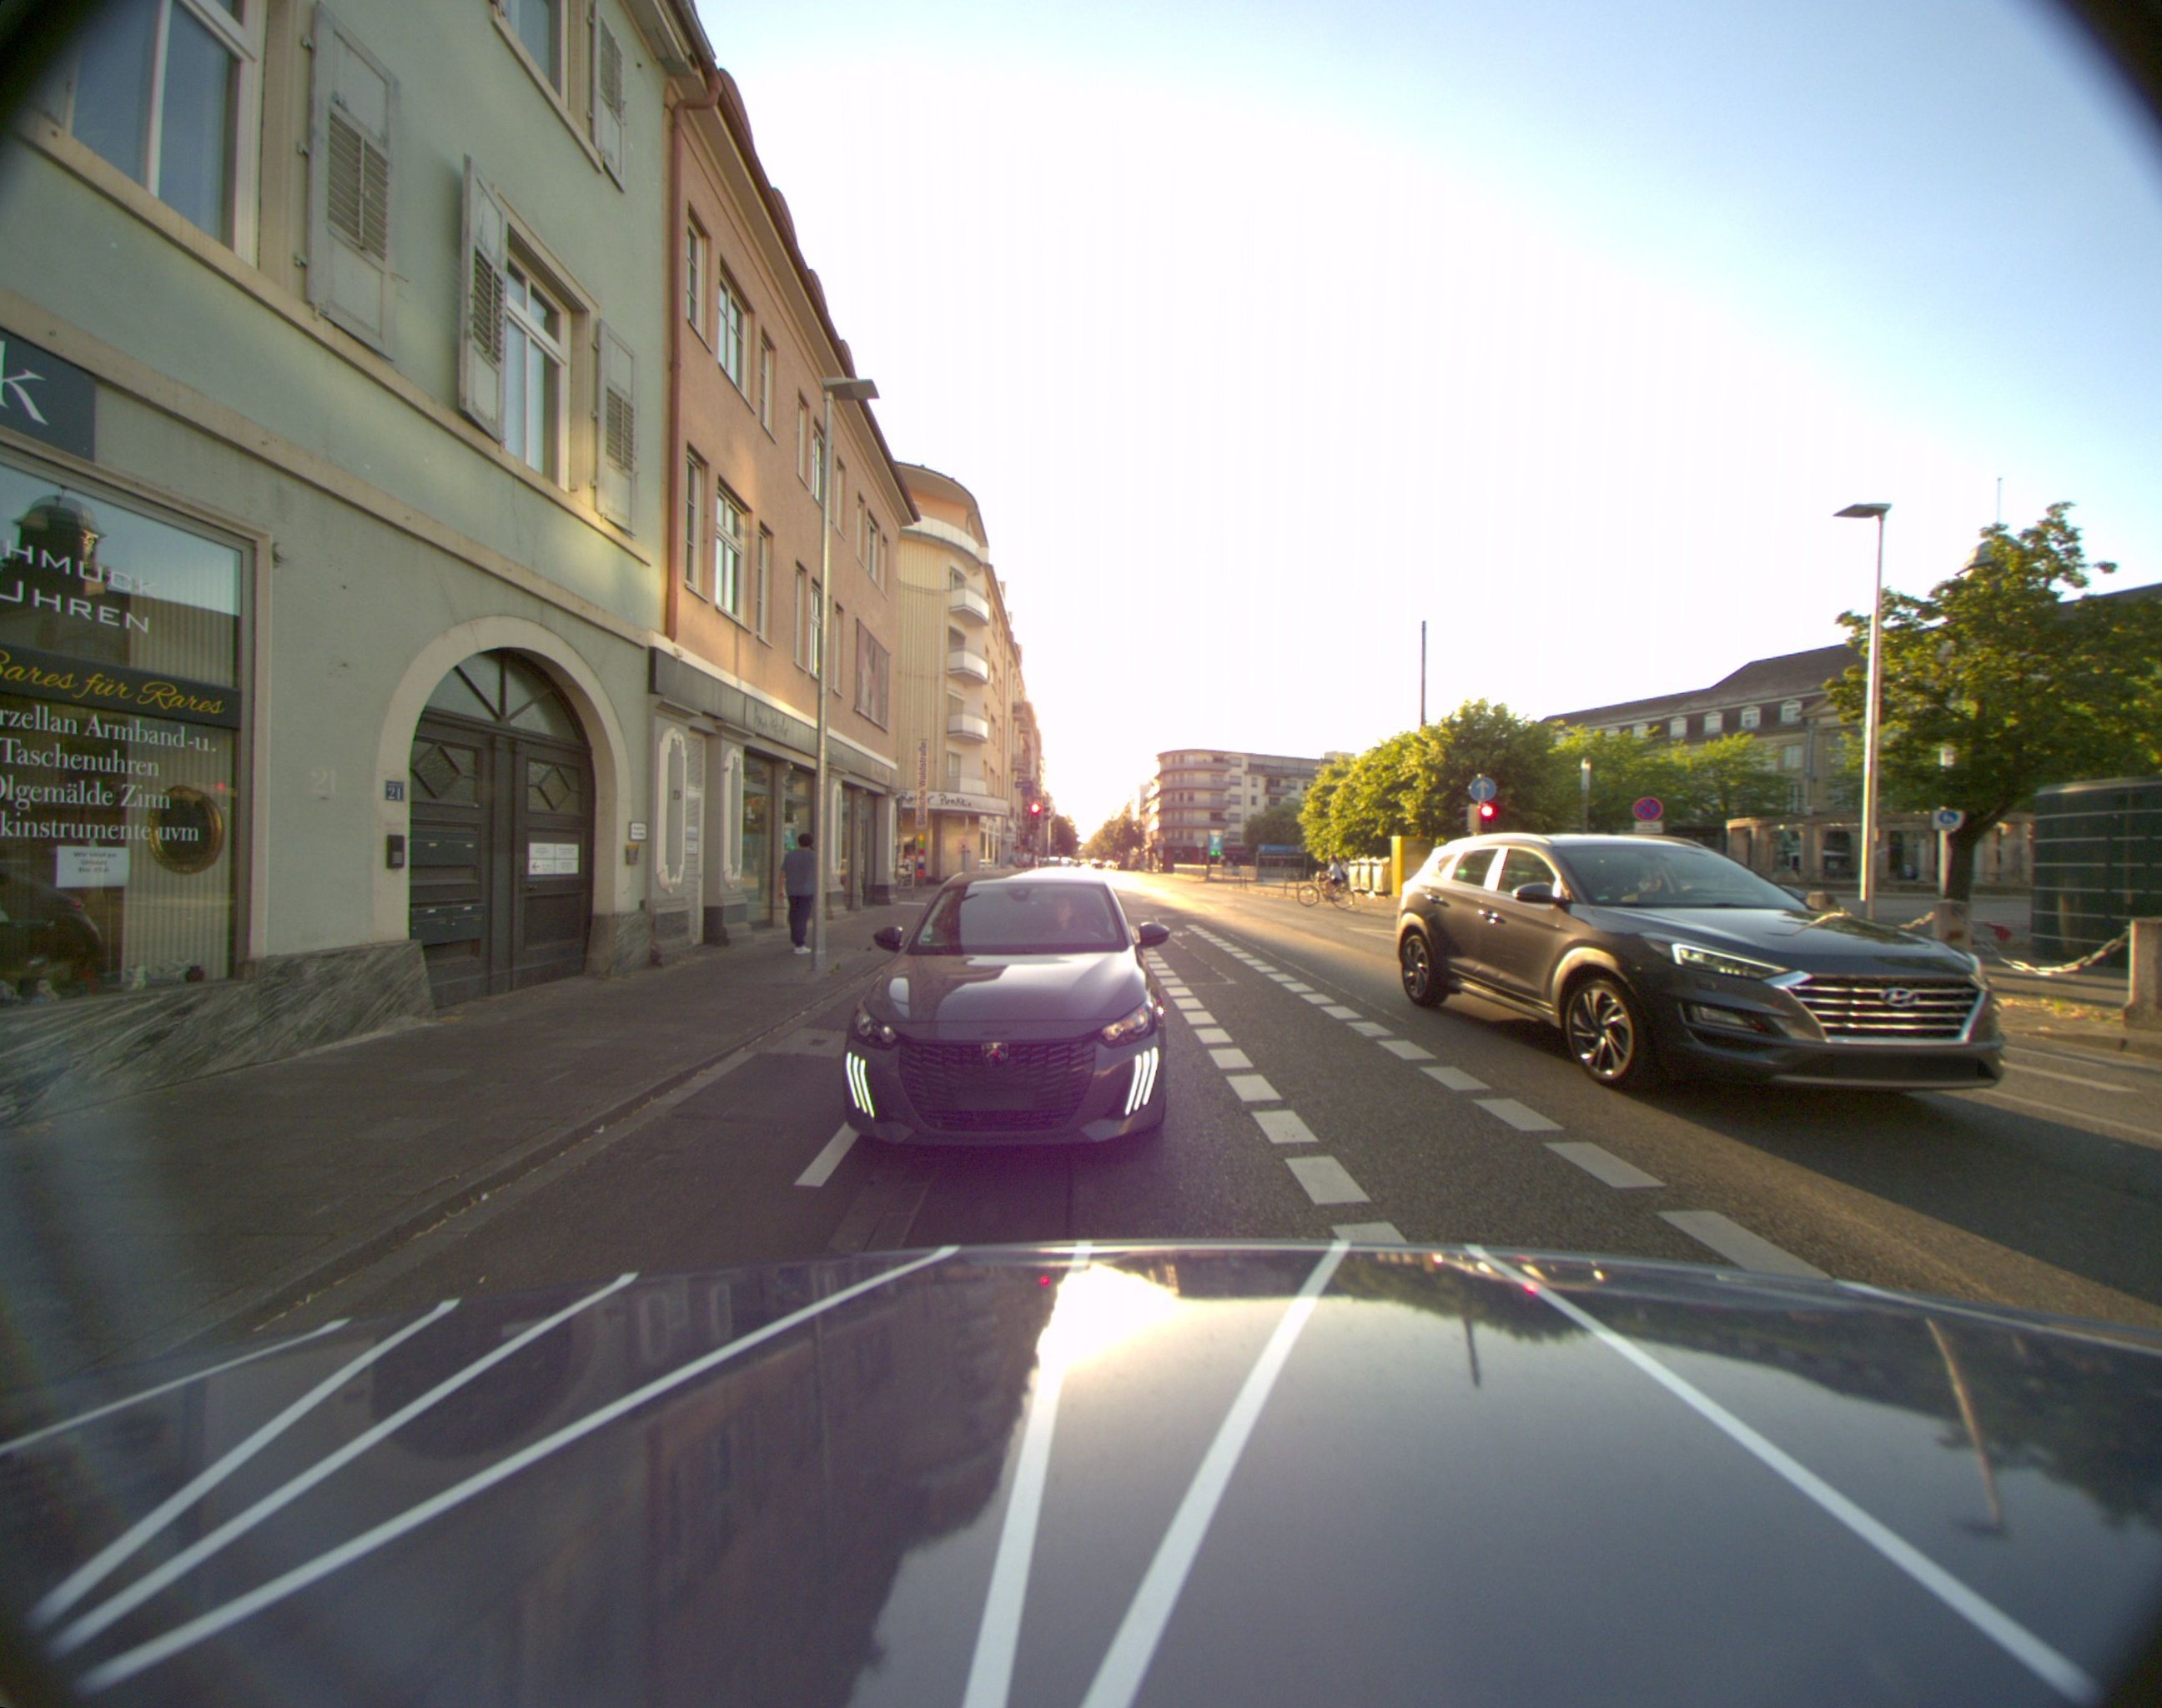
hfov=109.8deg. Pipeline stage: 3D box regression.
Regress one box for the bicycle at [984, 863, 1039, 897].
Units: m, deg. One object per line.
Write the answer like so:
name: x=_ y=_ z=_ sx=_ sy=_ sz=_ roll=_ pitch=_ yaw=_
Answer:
bicycle: x=-2.494 y=0.930 z=27.494 sx=1.823 sy=1.179 sz=0.794 roll=1 pitch=0 yaw=9

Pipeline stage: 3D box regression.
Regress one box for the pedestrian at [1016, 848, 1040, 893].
pedestrian: x=-2.155 y=0.665 z=30.973 sx=0.826 sy=1.806 sz=0.870 roll=1 pitch=0 yaw=-14

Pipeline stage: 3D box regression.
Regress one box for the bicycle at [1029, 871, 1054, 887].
bicycle: x=-1.745 y=1.084 z=33.490 sx=1.008 sy=0.677 sz=1.049 roll=1 pitch=0 yaw=-9

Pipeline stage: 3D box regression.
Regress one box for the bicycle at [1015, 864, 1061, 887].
bicycle: x=-2.119 y=1.050 z=37.431 sx=2.176 sy=1.069 sz=0.805 roll=2 pitch=0 yaw=-7

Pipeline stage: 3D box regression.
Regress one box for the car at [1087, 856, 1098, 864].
car: x=2.384 y=1.306 z=160.496 sx=1.878 sy=1.621 sz=4.177 roll=3 pitch=-1 yaw=-5

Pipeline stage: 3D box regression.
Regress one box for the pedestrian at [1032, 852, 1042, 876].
pedestrian: x=-3.773 y=0.861 z=65.200 sx=0.763 sy=2.002 sz=0.851 roll=0 pitch=0 yaw=0

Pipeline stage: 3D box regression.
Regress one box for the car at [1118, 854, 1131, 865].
car: x=7.732 y=0.945 z=135.739 sx=1.999 sy=1.805 sz=3.999 roll=1 pitch=0 yaw=-2

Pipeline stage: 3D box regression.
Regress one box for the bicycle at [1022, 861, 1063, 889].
bicycle: x=-1.802 y=0.963 z=35.100 sx=1.849 sy=1.232 sz=0.639 roll=1 pitch=0 yaw=-5

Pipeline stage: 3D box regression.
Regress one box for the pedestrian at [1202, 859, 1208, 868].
pedestrian: x=18.125 y=1.402 z=111.020 sx=0.732 sy=1.314 sz=0.888 roll=0 pitch=0 yaw=-2

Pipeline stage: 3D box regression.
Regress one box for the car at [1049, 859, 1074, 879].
car: x=-1.404 y=1.076 z=56.665 sx=1.738 sy=1.448 sz=4.610 roll=0 pitch=0 yaw=0

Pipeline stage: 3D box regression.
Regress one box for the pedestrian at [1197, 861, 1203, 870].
pedestrian: x=17.435 y=1.648 z=111.228 sx=0.732 sy=1.314 sz=0.889 roll=0 pitch=0 yaw=-1

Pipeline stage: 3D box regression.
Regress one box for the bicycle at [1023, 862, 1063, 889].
bicycle: x=-1.803 y=1.012 z=35.847 sx=1.788 sy=1.166 sz=0.622 roll=2 pitch=0 yaw=-11

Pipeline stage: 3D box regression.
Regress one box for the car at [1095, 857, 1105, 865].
car: x=3.629 y=1.291 z=145.680 sx=1.790 sy=1.458 sz=3.956 roll=1 pitch=0 yaw=-1

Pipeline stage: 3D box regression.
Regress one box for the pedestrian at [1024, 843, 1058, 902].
pedestrian: x=-1.322 y=0.605 z=25.265 sx=0.939 sy=1.886 sz=0.826 roll=1 pitch=0 yaw=7

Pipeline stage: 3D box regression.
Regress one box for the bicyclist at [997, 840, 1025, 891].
bicyclist: x=-2.539 y=0.405 z=27.511 sx=0.835 sy=1.815 sz=0.831 roll=1 pitch=0 yaw=8

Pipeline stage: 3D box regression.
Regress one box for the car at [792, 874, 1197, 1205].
car: x=-0.384 y=0.933 z=5.807 sx=1.908 sy=1.438 sz=4.449 roll=0 pitch=0 yaw=1

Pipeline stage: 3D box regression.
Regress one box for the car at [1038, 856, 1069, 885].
car: x=-1.629 y=0.928 z=44.765 sx=1.702 sy=1.607 sz=4.682 roll=0 pitch=0 yaw=-2

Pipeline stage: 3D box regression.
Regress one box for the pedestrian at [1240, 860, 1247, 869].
pedestrian: x=24.146 y=1.494 z=112.811 sx=0.731 sy=1.314 sz=0.891 roll=0 pitch=0 yaw=39

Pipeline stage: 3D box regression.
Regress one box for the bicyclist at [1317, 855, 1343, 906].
bicyclist: x=8.458 y=0.885 z=25.817 sx=0.777 sy=1.714 sz=0.856 roll=1 pitch=0 yaw=15

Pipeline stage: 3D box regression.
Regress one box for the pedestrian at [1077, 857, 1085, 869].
pedestrian: x=0.010 y=1.074 z=92.940 sx=0.678 sy=1.508 sz=0.676 roll=1 pitch=0 yaw=-42

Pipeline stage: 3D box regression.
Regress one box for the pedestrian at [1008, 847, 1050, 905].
pedestrian: x=-1.642 y=0.683 z=23.897 sx=1.099 sy=1.764 sz=0.827 roll=1 pitch=0 yaw=13

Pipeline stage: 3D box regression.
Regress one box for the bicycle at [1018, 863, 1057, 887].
bicycle: x=-2.213 y=1.062 z=38.430 sx=1.851 sy=1.117 sz=0.594 roll=2 pitch=1 yaw=-11

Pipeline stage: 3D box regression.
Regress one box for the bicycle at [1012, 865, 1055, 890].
bicycle: x=-2.132 y=1.040 z=34.162 sx=1.788 sy=1.057 sz=0.718 roll=2 pitch=0 yaw=-11

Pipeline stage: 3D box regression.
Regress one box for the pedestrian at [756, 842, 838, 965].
pedestrian: x=-3.936 y=0.660 z=10.592 sx=0.825 sy=1.632 sz=0.871 roll=1 pitch=0 yaw=-2

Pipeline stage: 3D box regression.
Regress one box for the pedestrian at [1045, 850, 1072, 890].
pedestrian: x=-0.927 y=0.660 z=31.587 sx=0.789 sy=1.643 sz=0.782 roll=1 pitch=1 yaw=43

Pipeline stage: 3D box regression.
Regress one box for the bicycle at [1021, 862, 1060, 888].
bicycle: x=-1.939 y=1.000 z=36.479 sx=1.788 sy=1.166 sz=0.622 roll=2 pitch=0 yaw=-11

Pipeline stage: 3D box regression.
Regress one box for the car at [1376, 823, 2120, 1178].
car: x=4.113 y=0.732 z=5.926 sx=1.877 sy=1.679 sz=4.450 roll=1 pitch=0 yaw=0

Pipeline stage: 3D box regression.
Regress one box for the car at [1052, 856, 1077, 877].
car: x=-1.297 y=1.002 z=62.216 sx=1.877 sy=1.664 sz=4.430 roll=0 pitch=0 yaw=0

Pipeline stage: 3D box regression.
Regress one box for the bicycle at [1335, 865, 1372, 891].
bicycle: x=13.203 y=1.170 z=36.837 sx=1.590 sy=1.245 sz=0.445 roll=-1 pitch=0 yaw=-2

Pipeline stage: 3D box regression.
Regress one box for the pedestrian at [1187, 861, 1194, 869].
pedestrian: x=15.814 y=1.551 z=109.816 sx=0.887 sy=1.185 sz=0.733 roll=0 pitch=0 yaw=9

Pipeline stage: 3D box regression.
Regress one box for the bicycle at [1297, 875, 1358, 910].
bicycle: x=8.381 y=1.286 z=25.896 sx=1.917 sy=1.111 sz=0.706 roll=1 pitch=0 yaw=17

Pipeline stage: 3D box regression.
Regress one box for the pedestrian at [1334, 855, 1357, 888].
pedestrian: x=14.917 y=0.959 z=42.788 sx=0.950 sy=1.806 sz=0.828 roll=1 pitch=0 yaw=40

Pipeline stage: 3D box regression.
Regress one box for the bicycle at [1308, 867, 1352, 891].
bicycle: x=12.466 y=1.251 z=38.039 sx=2.031 sy=1.128 sz=0.548 roll=-1 pitch=0 yaw=-4

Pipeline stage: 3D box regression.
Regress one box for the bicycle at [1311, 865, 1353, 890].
bicycle: x=13.154 y=1.233 z=39.769 sx=2.031 sy=1.245 sz=0.548 roll=-1 pitch=0 yaw=-4

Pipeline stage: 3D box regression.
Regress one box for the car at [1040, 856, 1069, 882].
car: x=-1.735 y=0.977 z=51.042 sx=1.821 sy=1.611 sz=4.203 roll=0 pitch=0 yaw=0
